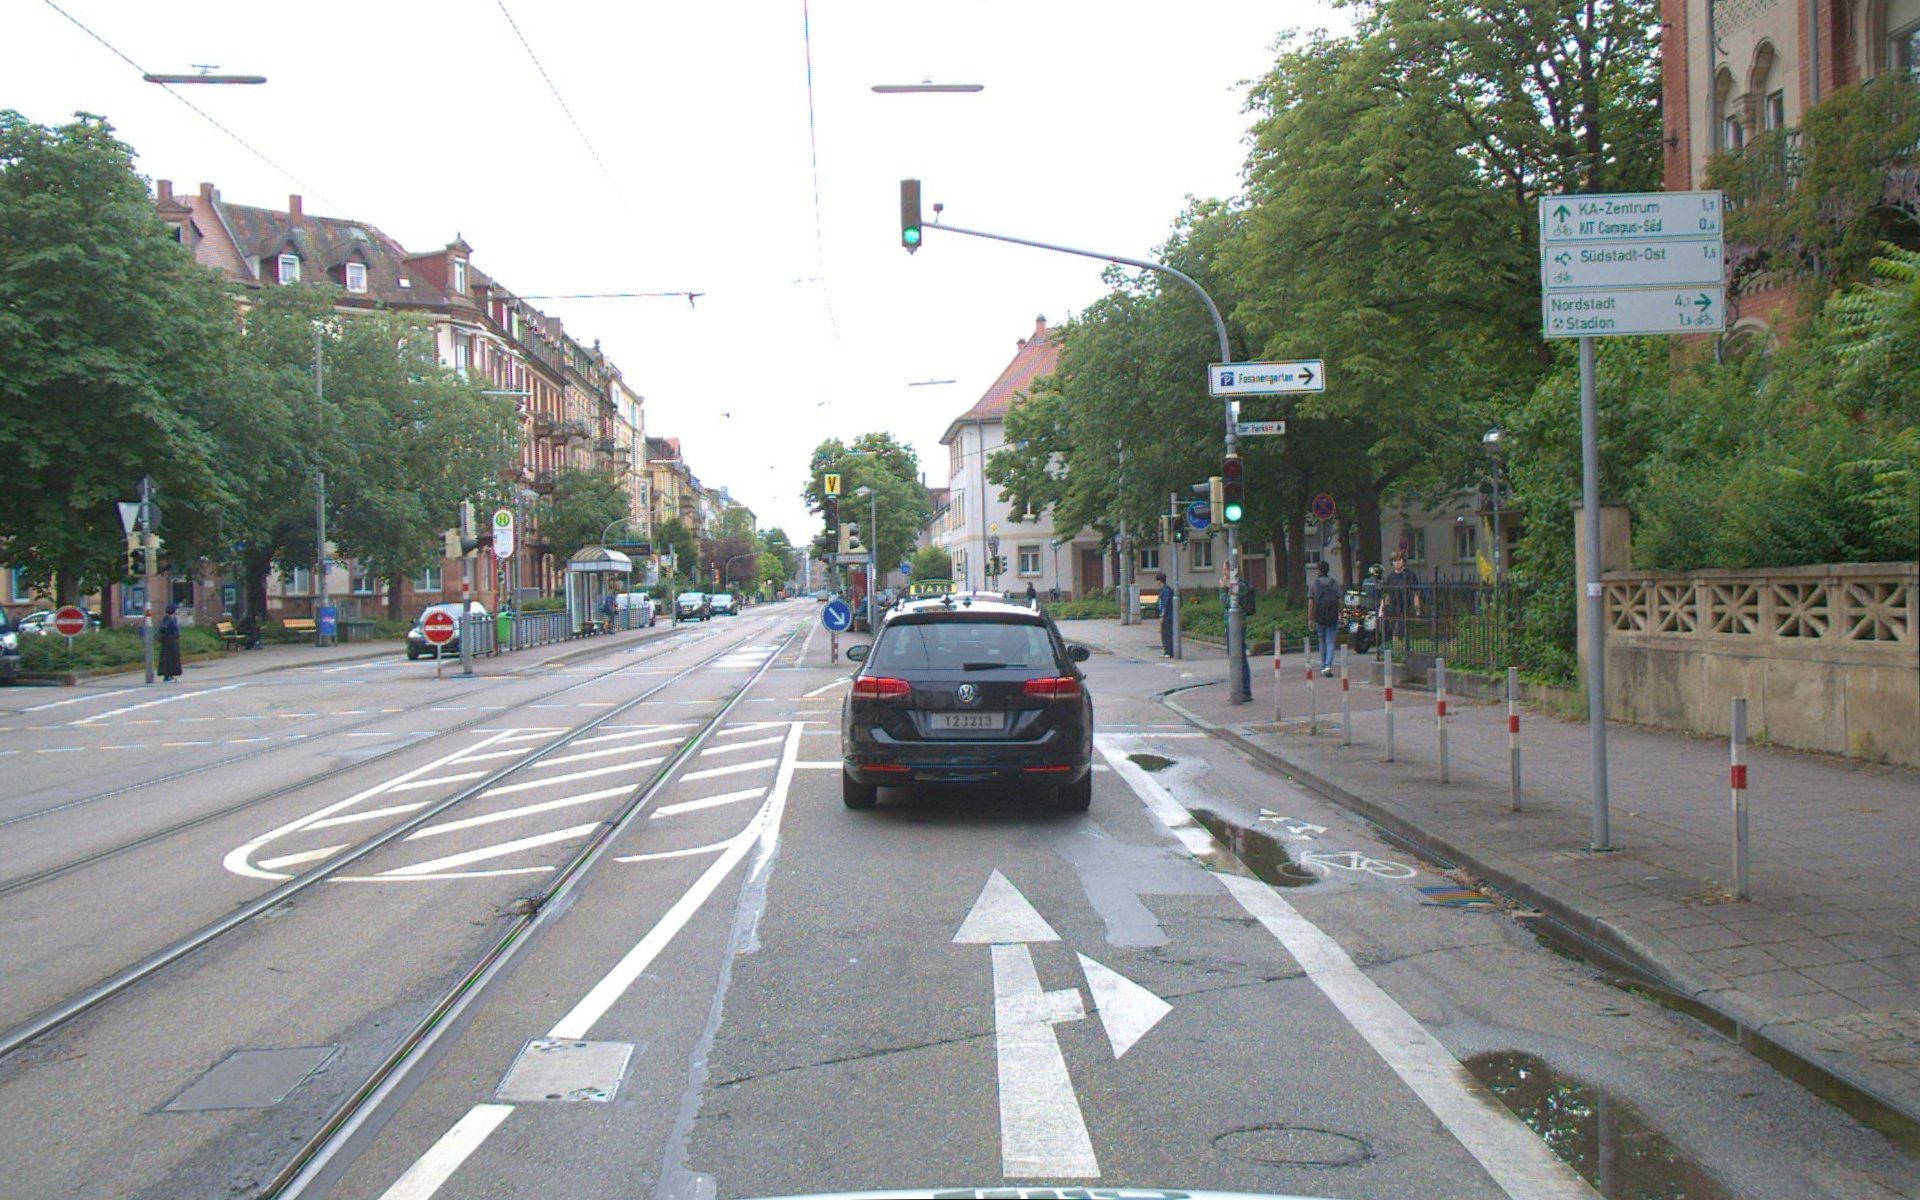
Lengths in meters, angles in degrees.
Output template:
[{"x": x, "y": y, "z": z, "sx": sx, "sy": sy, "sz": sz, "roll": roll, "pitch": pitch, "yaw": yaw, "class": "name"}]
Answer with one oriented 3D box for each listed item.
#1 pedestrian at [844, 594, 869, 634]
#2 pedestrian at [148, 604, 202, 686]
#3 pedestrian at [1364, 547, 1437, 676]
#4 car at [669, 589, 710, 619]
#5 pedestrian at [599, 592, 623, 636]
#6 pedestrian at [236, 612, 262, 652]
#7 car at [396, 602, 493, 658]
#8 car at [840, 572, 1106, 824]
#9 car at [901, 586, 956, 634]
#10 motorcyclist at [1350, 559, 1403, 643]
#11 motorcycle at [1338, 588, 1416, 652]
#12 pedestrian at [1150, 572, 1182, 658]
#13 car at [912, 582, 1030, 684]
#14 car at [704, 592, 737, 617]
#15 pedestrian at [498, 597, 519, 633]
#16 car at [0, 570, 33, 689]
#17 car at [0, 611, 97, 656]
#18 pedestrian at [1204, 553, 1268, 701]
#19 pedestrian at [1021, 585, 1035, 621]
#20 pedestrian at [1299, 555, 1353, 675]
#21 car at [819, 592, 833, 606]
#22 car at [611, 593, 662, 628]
[{"x": -3.511, "y": 0.470, "z": 55.881, "sx": 0.807, "sy": 1.327, "sz": 0.568, "roll": -2, "pitch": 0, "yaw": -5, "class": "pedestrian"}, {"x": -16.554, "y": 0.937, "z": 34.905, "sx": 0.820, "sy": 1.692, "sz": 0.590, "roll": -2, "pitch": 0, "yaw": -3, "class": "pedestrian"}, {"x": 6.482, "y": 0.163, "z": 24.347, "sx": 0.648, "sy": 1.863, "sz": 0.787, "roll": -2, "pitch": 0, "yaw": -45, "class": "pedestrian"}, {"x": -15.538, "y": 0.202, "z": 95.038, "sx": 1.759, "sy": 1.624, "sz": 3.999, "roll": -2, "pitch": 0, "yaw": -2, "class": "car"}, {"x": -12.503, "y": 0.495, "z": 59.263, "sx": 0.700, "sy": 1.547, "sz": 0.589, "roll": -2, "pitch": 0, "yaw": -3, "class": "pedestrian"}, {"x": -21.819, "y": 0.969, "z": 50.753, "sx": 0.582, "sy": 1.189, "sz": 0.835, "roll": -2, "pitch": 0, "yaw": -33, "class": "pedestrian"}, {"x": -14.110, "y": 0.801, "z": 45.499, "sx": 1.653, "sy": 1.406, "sz": 3.854, "roll": -2, "pitch": 0, "yaw": -4, "class": "car"}, {"x": -0.050, "y": 0.616, "z": 12.620, "sx": 1.689, "sy": 1.573, "sz": 3.997, "roll": -1, "pitch": 0, "yaw": -4, "class": "car"}, {"x": -1.120, "y": 0.324, "z": 57.502, "sx": 1.689, "sy": 1.573, "sz": 3.997, "roll": -1, "pitch": 0, "yaw": -4, "class": "car"}, {"x": 8.695, "y": 0.014, "z": 34.543, "sx": 0.795, "sy": 1.721, "sz": 0.696, "roll": -2, "pitch": 0, "yaw": -36, "class": "motorcyclist"}, {"x": 8.727, "y": 0.400, "z": 34.574, "sx": 1.885, "sy": 1.257, "sz": 0.442, "roll": -2, "pitch": 0, "yaw": -36, "class": "motorcycle"}, {"x": 4.560, "y": 0.330, "z": 36.586, "sx": 0.504, "sy": 1.862, "sz": 0.418, "roll": -5, "pitch": 0, "yaw": -3, "class": "pedestrian"}, {"x": 0.120, "y": 0.511, "z": 28.101, "sx": 1.689, "sy": 1.573, "sz": 3.997, "roll": -1, "pitch": 0, "yaw": -4, "class": "car"}, {"x": -16.448, "y": 0.286, "z": 113.628, "sx": 1.759, "sy": 1.624, "sz": 3.999, "roll": -2, "pitch": 0, "yaw": -2, "class": "car"}, {"x": -19.830, "y": 0.669, "z": 72.692, "sx": 0.577, "sy": 1.547, "sz": 0.647, "roll": -2, "pitch": 0, "yaw": 31, "class": "pedestrian"}, {"x": -22.055, "y": 0.667, "z": 35.618, "sx": 5.288, "sy": 2.459, "sz": 2.171, "roll": -1, "pitch": 0, "yaw": 44, "class": "car"}, {"x": -37.508, "y": 1.369, "z": 67.349, "sx": 3.771, "sy": 1.651, "sz": 1.727, "roll": -2, "pitch": 0, "yaw": 2, "class": "car"}, {"x": 3.590, "y": 0.344, "z": 21.557, "sx": 0.574, "sy": 1.862, "sz": 0.604, "roll": -5, "pitch": 0, "yaw": -3, "class": "pedestrian"}, {"x": 2.982, "y": 0.125, "z": 72.512, "sx": 0.570, "sy": 1.581, "sz": 0.609, "roll": -1, "pitch": 0, "yaw": -2, "class": "pedestrian"}, {"x": 5.759, "y": 0.233, "z": 26.037, "sx": 0.619, "sy": 1.846, "sz": 0.726, "roll": -2, "pitch": 0, "yaw": -2, "class": "pedestrian"}, {"x": -20.323, "y": -0.125, "z": 251.348, "sx": 1.993, "sy": 2.049, "sz": 3.996, "roll": -1, "pitch": 0, "yaw": -4, "class": "car"}, {"x": -15.664, "y": 0.485, "z": 80.306, "sx": 1.759, "sy": 1.624, "sz": 3.999, "roll": -2, "pitch": 0, "yaw": -2, "class": "car"}]
